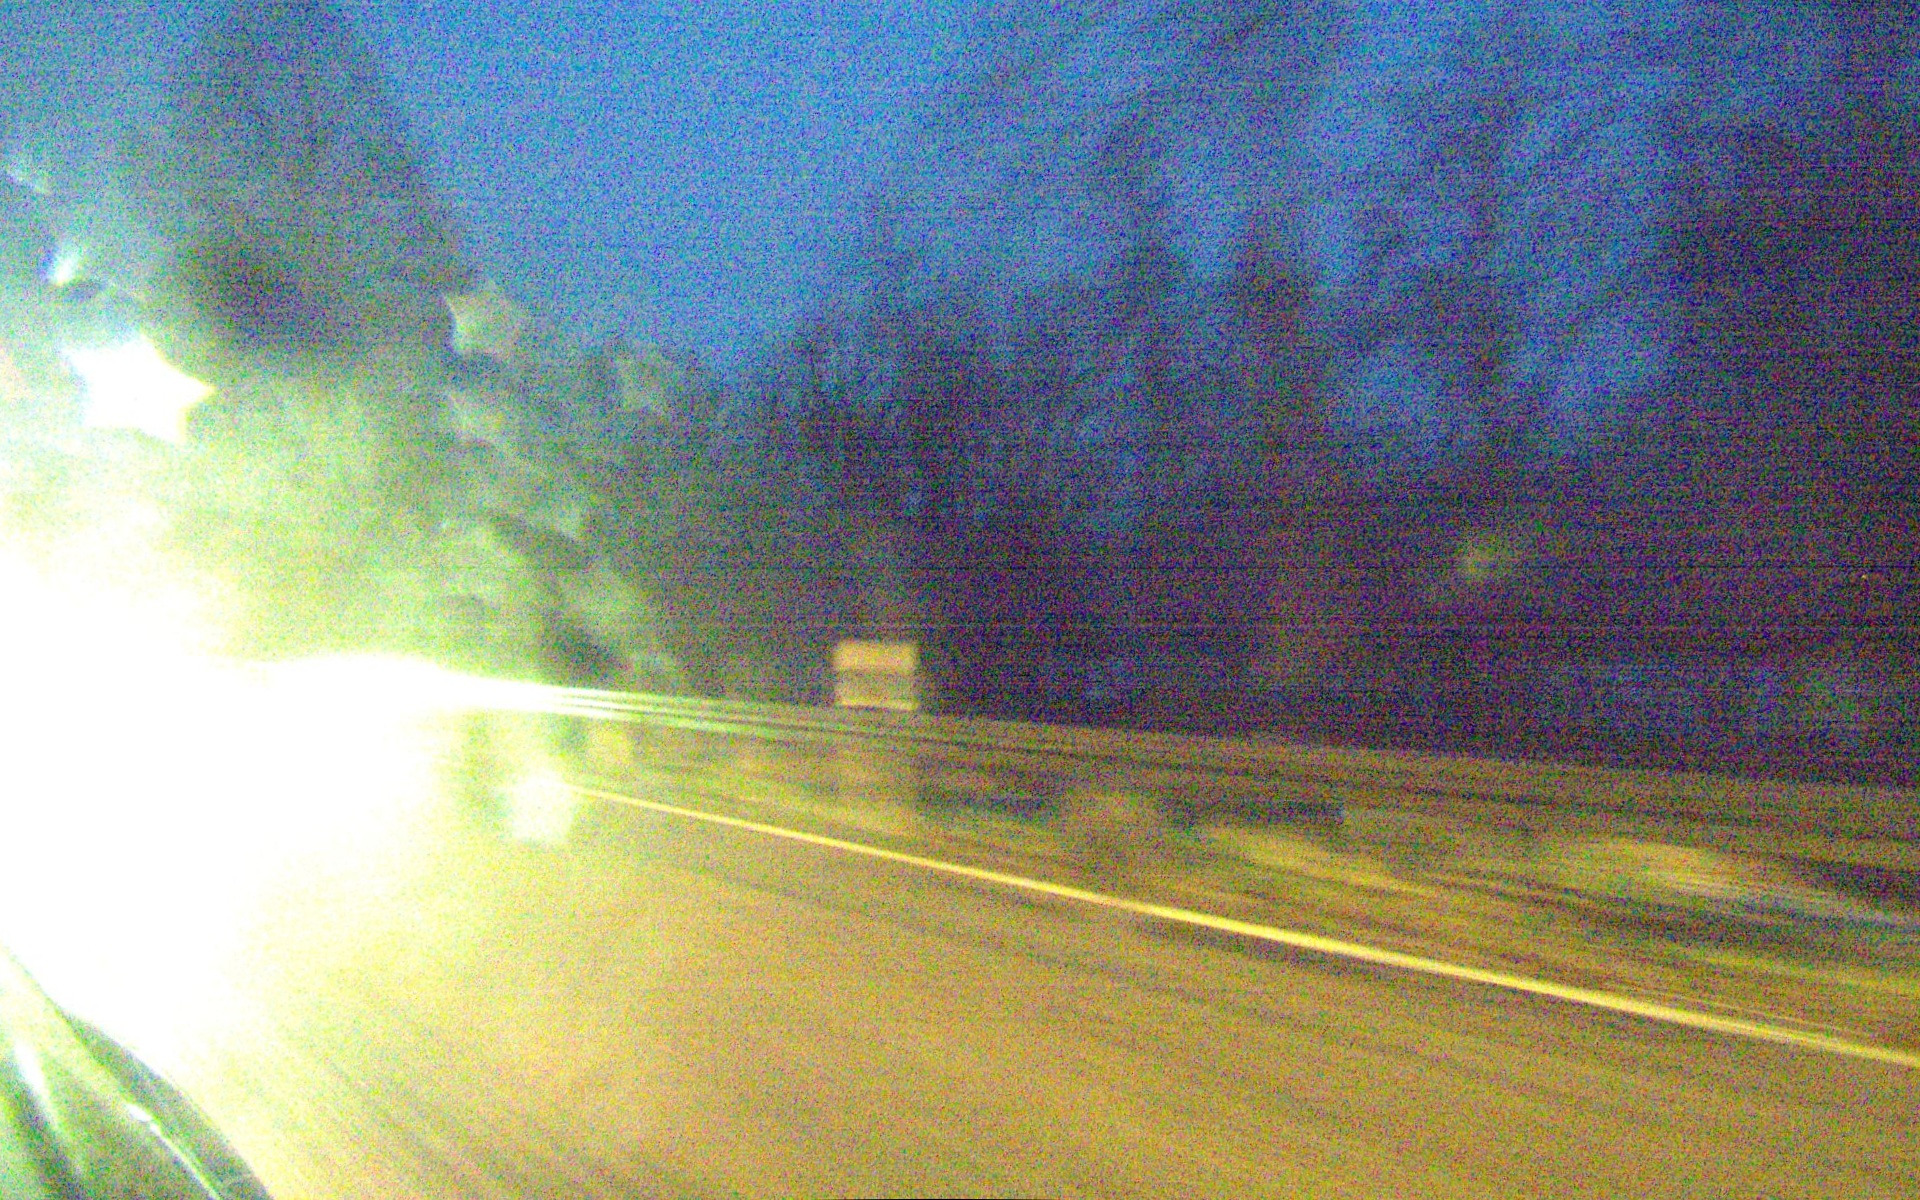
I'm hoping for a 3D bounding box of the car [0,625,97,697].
[{"bbox_3d":[-20.842,1.381,23.010,1.576,1.522,3.602,4,-5,-44],"label":"car"}]

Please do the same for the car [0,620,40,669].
[{"bbox_3d":[-42.879,1.995,45.493,4.347,2.084,1.971,-2,-2,44],"label":"car"}]
